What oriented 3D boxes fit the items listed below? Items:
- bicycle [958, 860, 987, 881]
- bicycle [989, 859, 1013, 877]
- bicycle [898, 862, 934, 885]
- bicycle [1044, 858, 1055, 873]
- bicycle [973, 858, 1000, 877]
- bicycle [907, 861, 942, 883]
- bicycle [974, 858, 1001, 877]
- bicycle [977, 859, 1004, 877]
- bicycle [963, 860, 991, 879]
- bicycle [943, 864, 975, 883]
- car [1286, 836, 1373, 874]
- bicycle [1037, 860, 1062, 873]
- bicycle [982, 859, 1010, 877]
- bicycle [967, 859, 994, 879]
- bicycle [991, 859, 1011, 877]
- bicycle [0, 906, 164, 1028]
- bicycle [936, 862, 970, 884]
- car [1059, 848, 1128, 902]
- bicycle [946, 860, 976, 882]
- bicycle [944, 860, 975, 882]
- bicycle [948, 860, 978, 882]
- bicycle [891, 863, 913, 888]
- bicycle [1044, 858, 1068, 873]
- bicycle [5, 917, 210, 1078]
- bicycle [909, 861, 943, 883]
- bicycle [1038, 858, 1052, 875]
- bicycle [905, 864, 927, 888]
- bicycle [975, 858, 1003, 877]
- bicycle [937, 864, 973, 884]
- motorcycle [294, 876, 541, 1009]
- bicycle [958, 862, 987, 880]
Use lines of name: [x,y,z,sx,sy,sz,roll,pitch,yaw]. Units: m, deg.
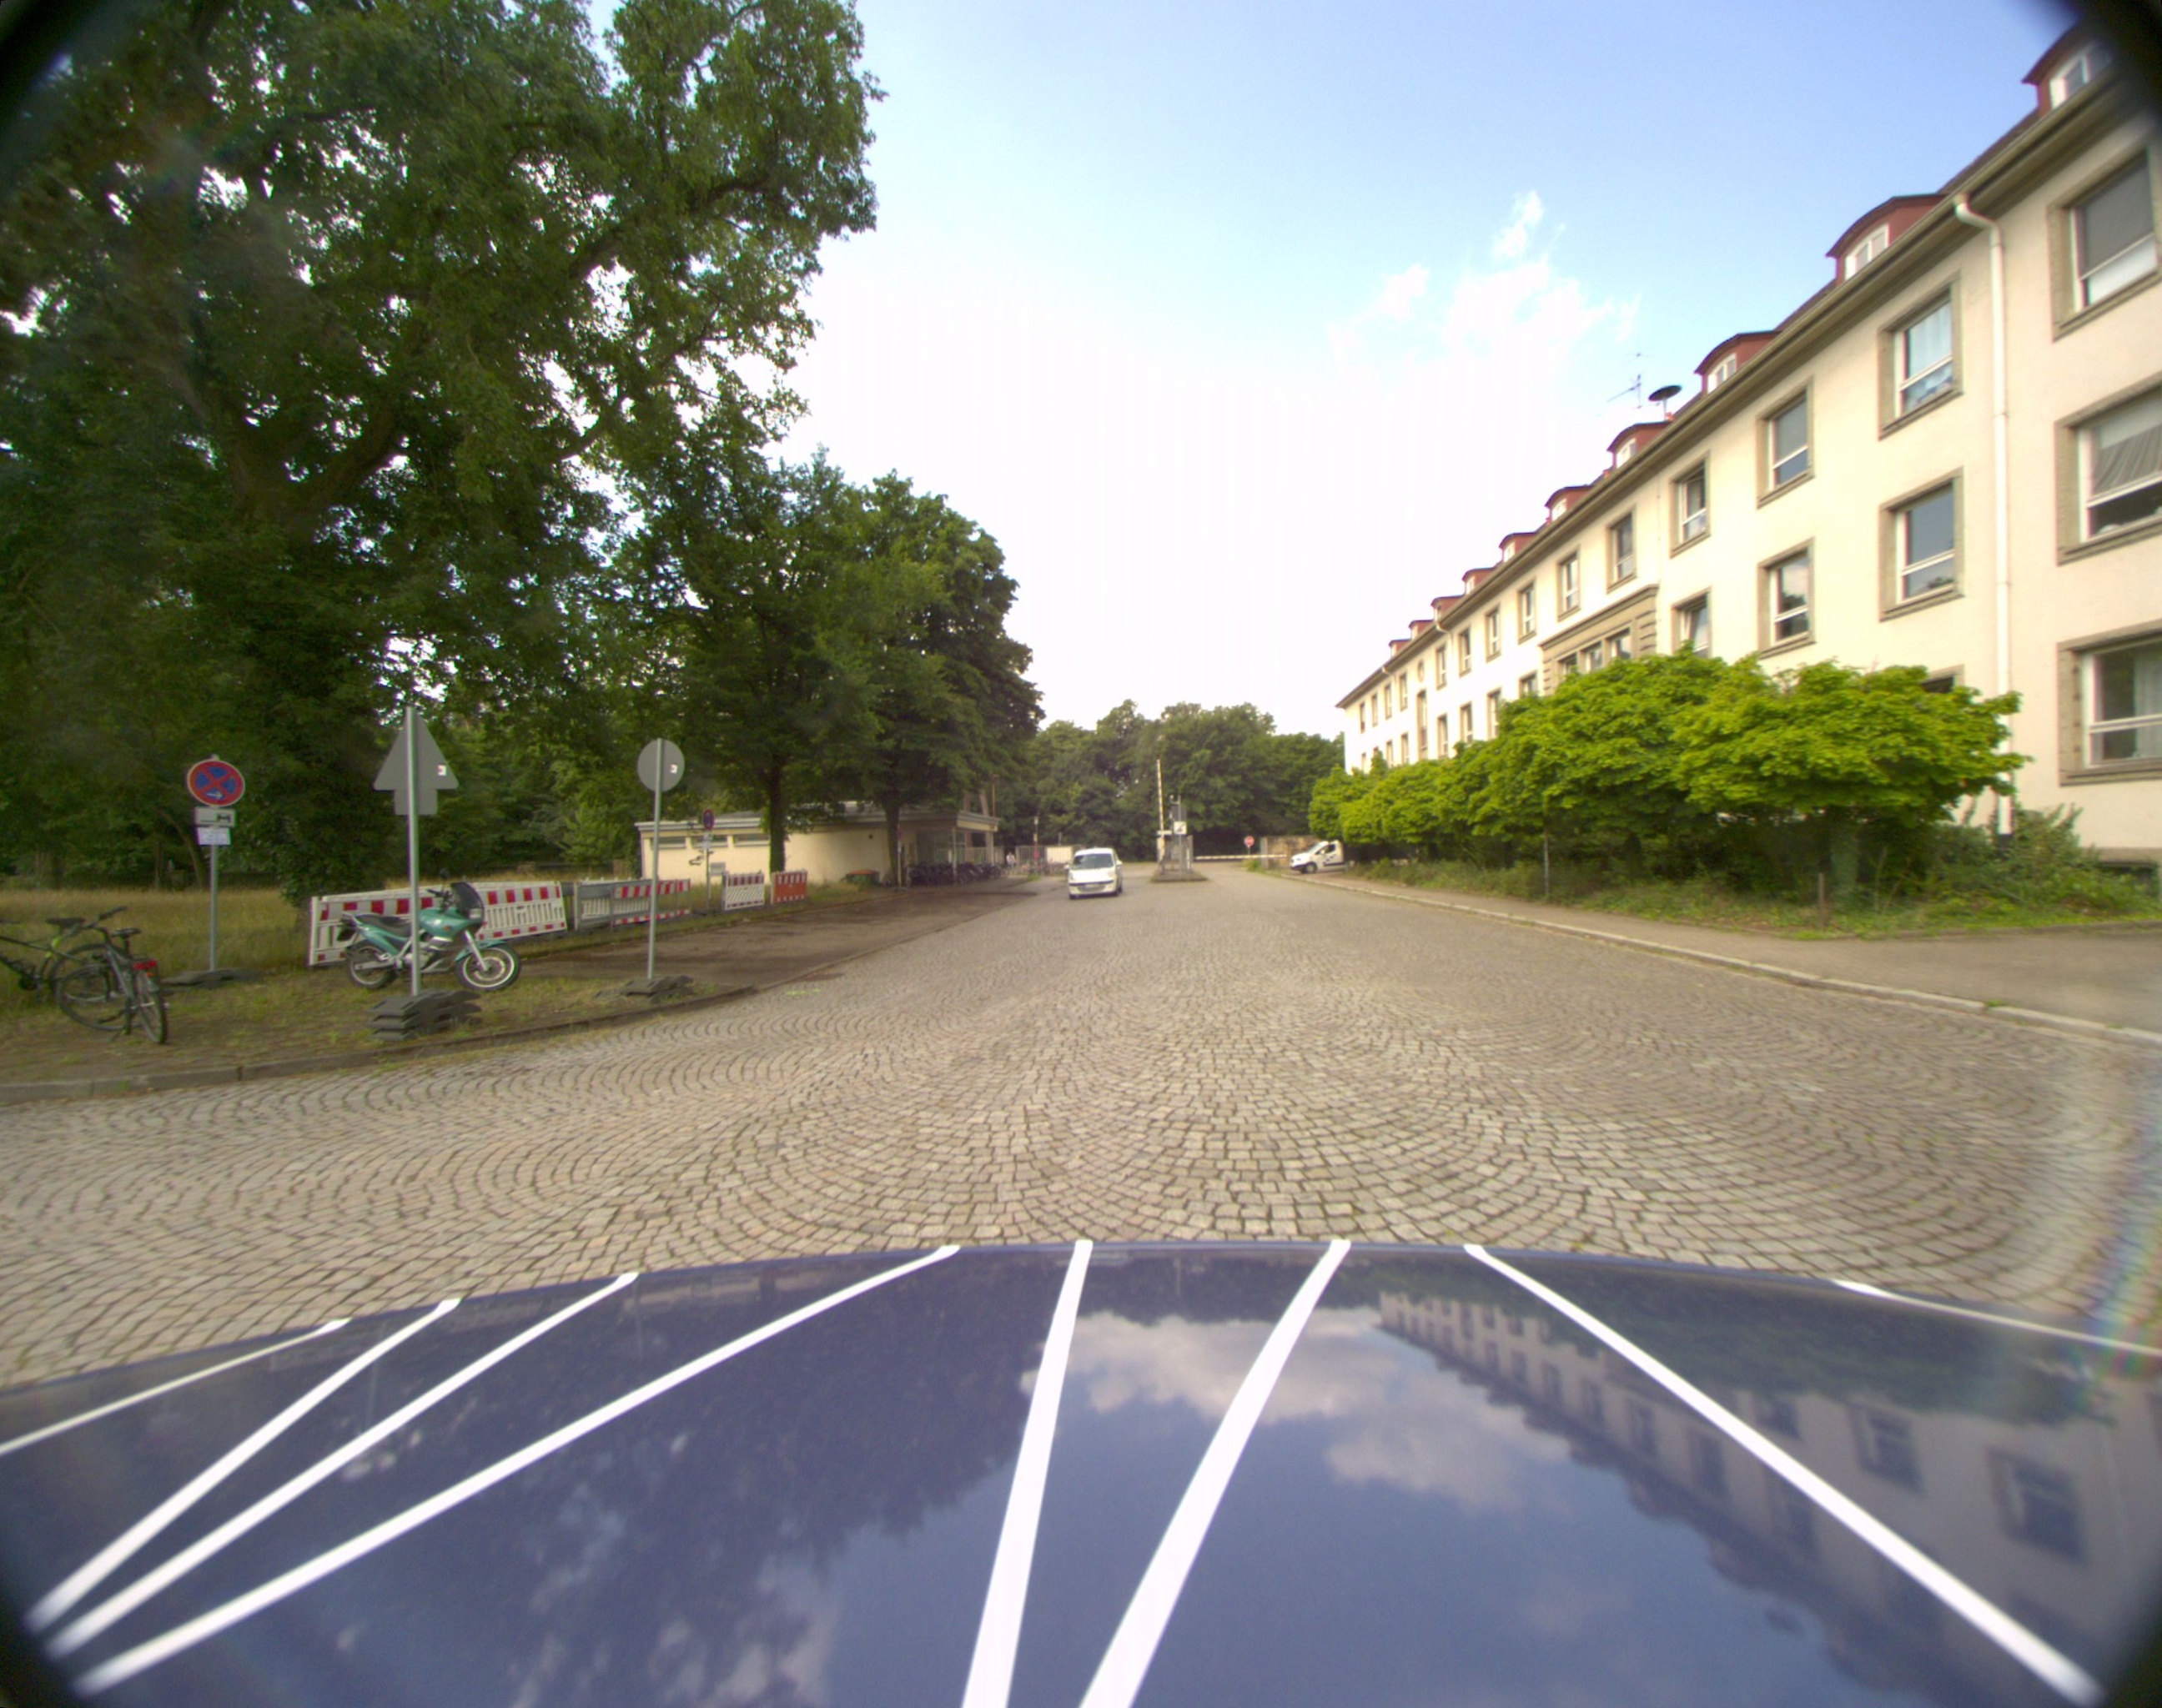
bicycle: [-6.216,0.920,43.432,1.635,1.183,0.499,0,1,-7]
bicycle: [-5.107,0.884,48.531,1.407,1.040,0.338,-2,1,-21]
bicycle: [-8.612,1.007,39.746,1.745,1.158,0.608,0,1,1]
bicycle: [-2.217,0.812,53.609,0.474,1.051,1.733,-1,1,6]
bicycle: [-5.707,0.838,46.032,1.617,1.134,0.325,0,1,-2]
bicycle: [-8.385,0.985,40.758,1.745,1.158,0.608,0,1,1]
bicycle: [-5.738,0.840,46.884,1.617,1.134,0.356,0,1,-2]
bicycle: [-5.675,0.877,47.600,1.617,1.134,0.356,0,1,-2]
bicycle: [-6.133,0.910,44.944,1.595,1.134,0.325,0,1,-2]
bicycle: [-6.537,1.038,40.787,1.637,0.970,0.322,0,1,-25]
car: [14.227,0.022,43.680,4.310,1.796,1.820,-5,1,3]
bicycle: [-2.321,0.927,55.992,1.867,0.934,0.503,-1,1,0]
bicycle: [-5.495,0.901,49.060,1.753,1.040,0.453,-2,1,-33]
bicycle: [-6.036,0.899,45.609,1.617,1.134,0.325,0,1,-2]
bicycle: [-5.058,0.885,48.135,1.154,1.056,0.287,-2,1,-16]
bicycle: [-11.319,1.202,8.099,0.643,1.162,1.906,-1,0,7]
bicycle: [-6.584,0.988,39.090,1.681,1.102,0.338,0,1,-8]
car: [0.552,0.700,28.094,1.865,1.749,4.151,-4,0,9]
bicycle: [-6.639,0.956,42.048,1.635,1.183,0.419,0,1,-7]
bicycle: [-6.636,0.933,41.433,1.635,1.183,0.473,0,1,-8]
bicycle: [-6.634,0.950,42.662,1.635,1.183,0.419,0,1,-7]
bicycle: [-8.641,1.025,36.732,0.598,1.110,1.635,0,1,4]
bicycle: [-1.847,0.857,56.654,1.729,1.027,0.387,-1,1,7]
bicycle: [-8.608,1.194,6.709,1.900,1.190,0.657,-1,1,25]
bicycle: [-8.482,0.981,41.690,1.745,1.158,0.608,0,1,1]
bicycle: [-2.406,0.835,51.398,0.691,1.056,1.566,-1,1,6]
bicycle: [-7.978,1.043,36.703,0.598,1.110,1.635,0,1,4]
bicycle: [-5.617,0.830,46.411,1.617,1.134,0.325,0,1,-2]
bicycle: [-6.630,1.048,40.007,1.748,0.970,0.757,0,1,-25]
motorcycle: [-7.972,1.045,9.201,2.282,1.476,0.757,-1,1,0]
bicycle: [-6.292,0.965,44.033,1.635,1.044,0.334,0,1,-9]
